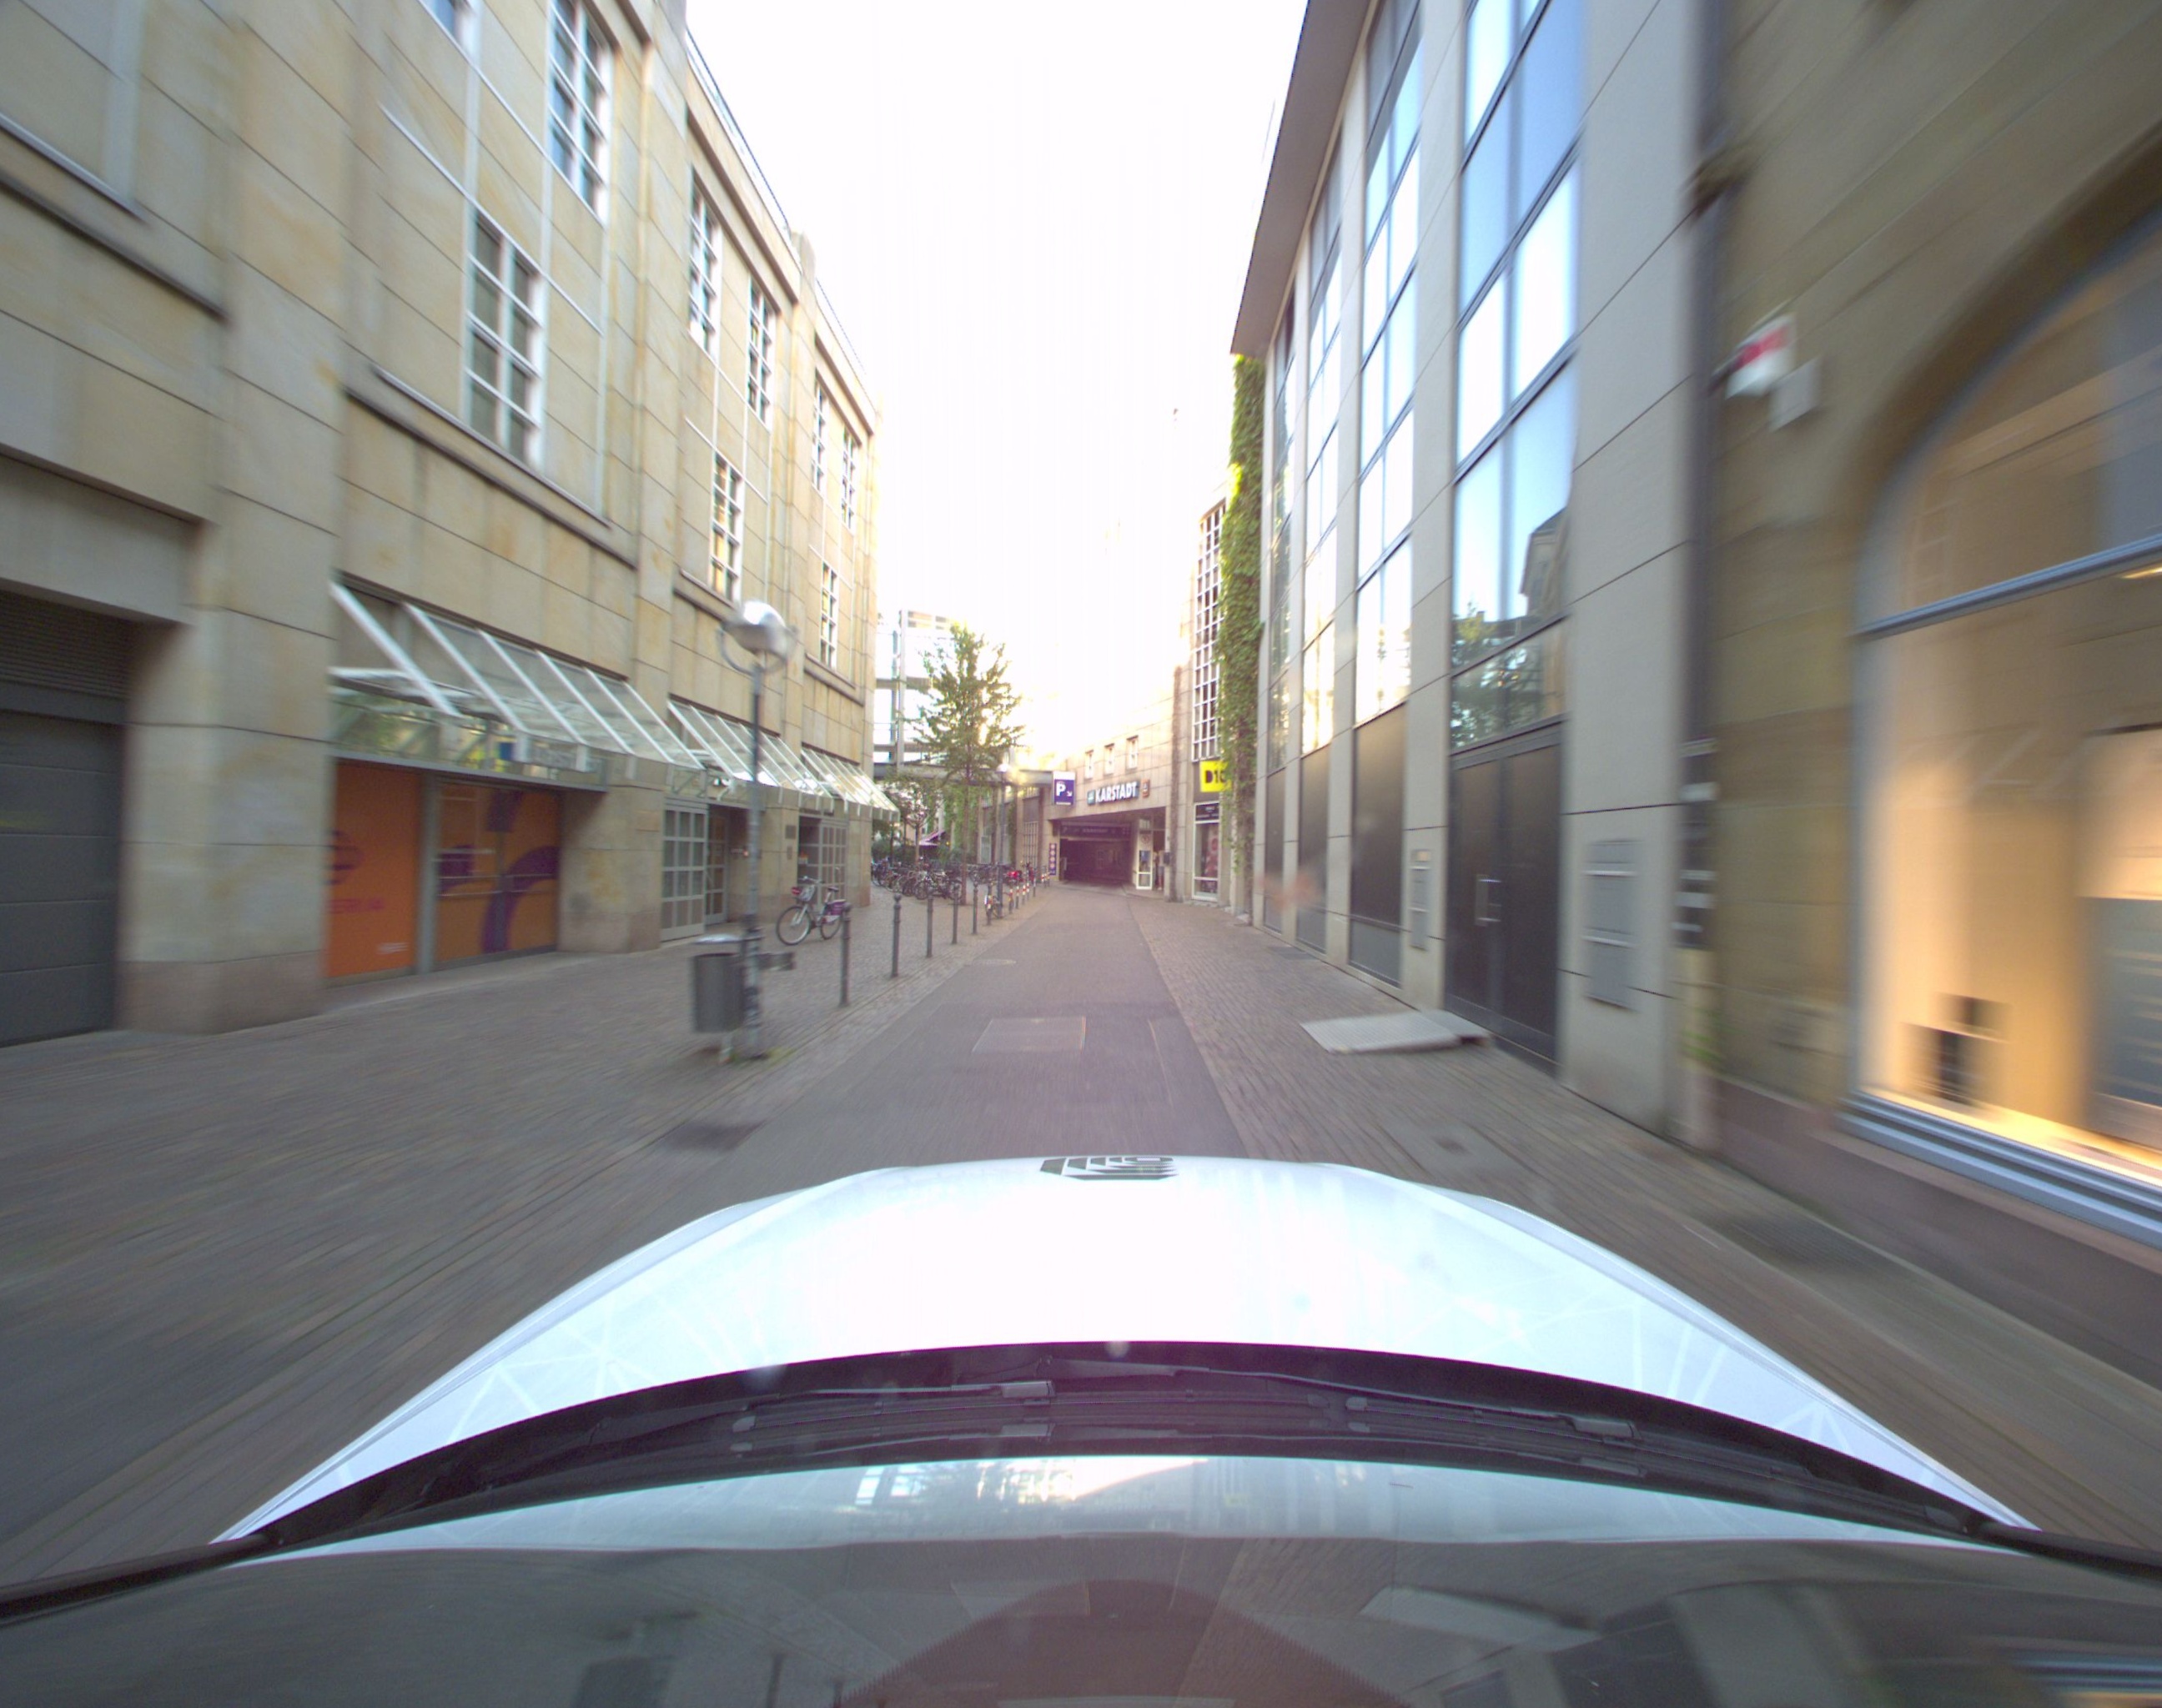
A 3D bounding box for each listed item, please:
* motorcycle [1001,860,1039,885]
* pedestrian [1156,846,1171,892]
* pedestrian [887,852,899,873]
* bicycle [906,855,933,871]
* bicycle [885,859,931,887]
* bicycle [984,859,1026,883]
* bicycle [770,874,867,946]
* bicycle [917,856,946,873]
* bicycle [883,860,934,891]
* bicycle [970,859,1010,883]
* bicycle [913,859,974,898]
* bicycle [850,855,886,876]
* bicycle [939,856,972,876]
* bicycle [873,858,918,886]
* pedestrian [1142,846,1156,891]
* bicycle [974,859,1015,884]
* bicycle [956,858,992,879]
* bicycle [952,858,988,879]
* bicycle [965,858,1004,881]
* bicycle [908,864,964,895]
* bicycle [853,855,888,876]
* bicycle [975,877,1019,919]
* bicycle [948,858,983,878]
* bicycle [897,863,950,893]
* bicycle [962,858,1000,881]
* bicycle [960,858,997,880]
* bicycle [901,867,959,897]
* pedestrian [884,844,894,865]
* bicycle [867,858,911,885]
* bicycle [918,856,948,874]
[{"bbox_3d":[-2.938,0.888,39.420,1.749,1.155,0.591,-1,0,-16],"label":"motorcycle"},{"bbox_3d":[3.418,0.609,33.757,0.539,1.861,0.409,1,0,7],"label":"pedestrian"},{"bbox_3d":[-13.903,0.640,60.150,0.750,1.509,0.633,1,0,-21],"label":"pedestrian"},{"bbox_3d":[-12.500,0.670,63.077,1.999,1.182,0.690,-1,0,-18],"label":"bicycle"},{"bbox_3d":[-7.535,0.820,35.403,1.916,1.182,0.692,1,0,-16],"label":"bicycle"},{"bbox_3d":[-3.855,0.857,41.109,1.999,1.182,0.692,-1,0,-18],"label":"bicycle"},{"bbox_3d":[-4.468,0.922,14.000,0.688,1.112,1.784,0,0,16],"label":"bicycle"},{"bbox_3d":[-10.745,0.768,58.561,1.999,1.182,0.690,-1,0,-18],"label":"bicycle"},{"bbox_3d":[-6.710,0.840,31.695,1.916,1.182,0.692,1,0,-16],"label":"bicycle"},{"bbox_3d":[-4.784,0.889,42.864,1.999,1.182,0.798,-1,0,-18],"label":"bicycle"},{"bbox_3d":[-4.602,0.828,27.243,1.918,1.261,0.803,1,0,-19],"label":"bicycle"},{"bbox_3d":[-11.905,0.636,45.526,1.916,1.182,0.692,1,0,-16],"label":"bicycle"},{"bbox_3d":[-8.014,0.766,52.044,1.999,1.182,0.690,-1,0,-18],"label":"bicycle"},{"bbox_3d":[-8.225,0.807,36.152,1.916,1.182,0.692,1,0,-16],"label":"bicycle"},{"bbox_3d":[2.839,0.594,34.002,0.539,1.846,0.409,1,0,7],"label":"pedestrian"},{"bbox_3d":[-4.471,0.894,41.978,1.999,1.182,0.692,-1,0,-18],"label":"bicycle"},{"bbox_3d":[-6.229,0.841,47.345,1.999,1.182,0.690,-1,0,-18],"label":"bicycle"},{"bbox_3d":[-6.615,0.846,48.588,1.999,1.182,0.690,-1,0,-18],"label":"bicycle"},{"bbox_3d":[-5.203,0.852,44.004,1.999,1.182,0.798,-1,0,-18],"label":"bicycle"},{"bbox_3d":[-5.273,0.926,29.586,1.918,1.101,0.691,1,0,-19],"label":"bicycle"},{"bbox_3d":[-12.000,0.666,46.454,1.916,1.182,0.692,1,0,-16],"label":"bicycle"},{"bbox_3d":[-2.139,1.106,20.856,0.501,0.966,1.702,0,0,17],"label":"bicycle"},{"bbox_3d":[-7.028,0.856,49.668,1.999,1.182,0.690,-1,0,-18],"label":"bicycle"},{"bbox_3d":[-5.971,0.894,30.783,1.916,1.101,0.692,1,0,-16],"label":"bicycle"},{"bbox_3d":[-5.599,0.857,45.465,1.999,1.182,0.798,-1,0,-18],"label":"bicycle"},{"bbox_3d":[-5.829,0.867,46.456,1.999,1.182,0.690,-1,0,-18],"label":"bicycle"},{"bbox_3d":[-5.302,0.980,28.666,1.918,0.994,0.691,1,0,-19],"label":"bicycle"},{"bbox_3d":[-16.856,0.029,71.421,0.767,1.804,0.772,1,0,-20],"label":"pedestrian"},{"bbox_3d":[-8.761,0.810,37.202,1.916,1.182,0.692,1,0,-16],"label":"bicycle"},{"bbox_3d":[-10.494,0.785,57.746,1.999,1.182,0.690,-1,0,-18],"label":"bicycle"}]
